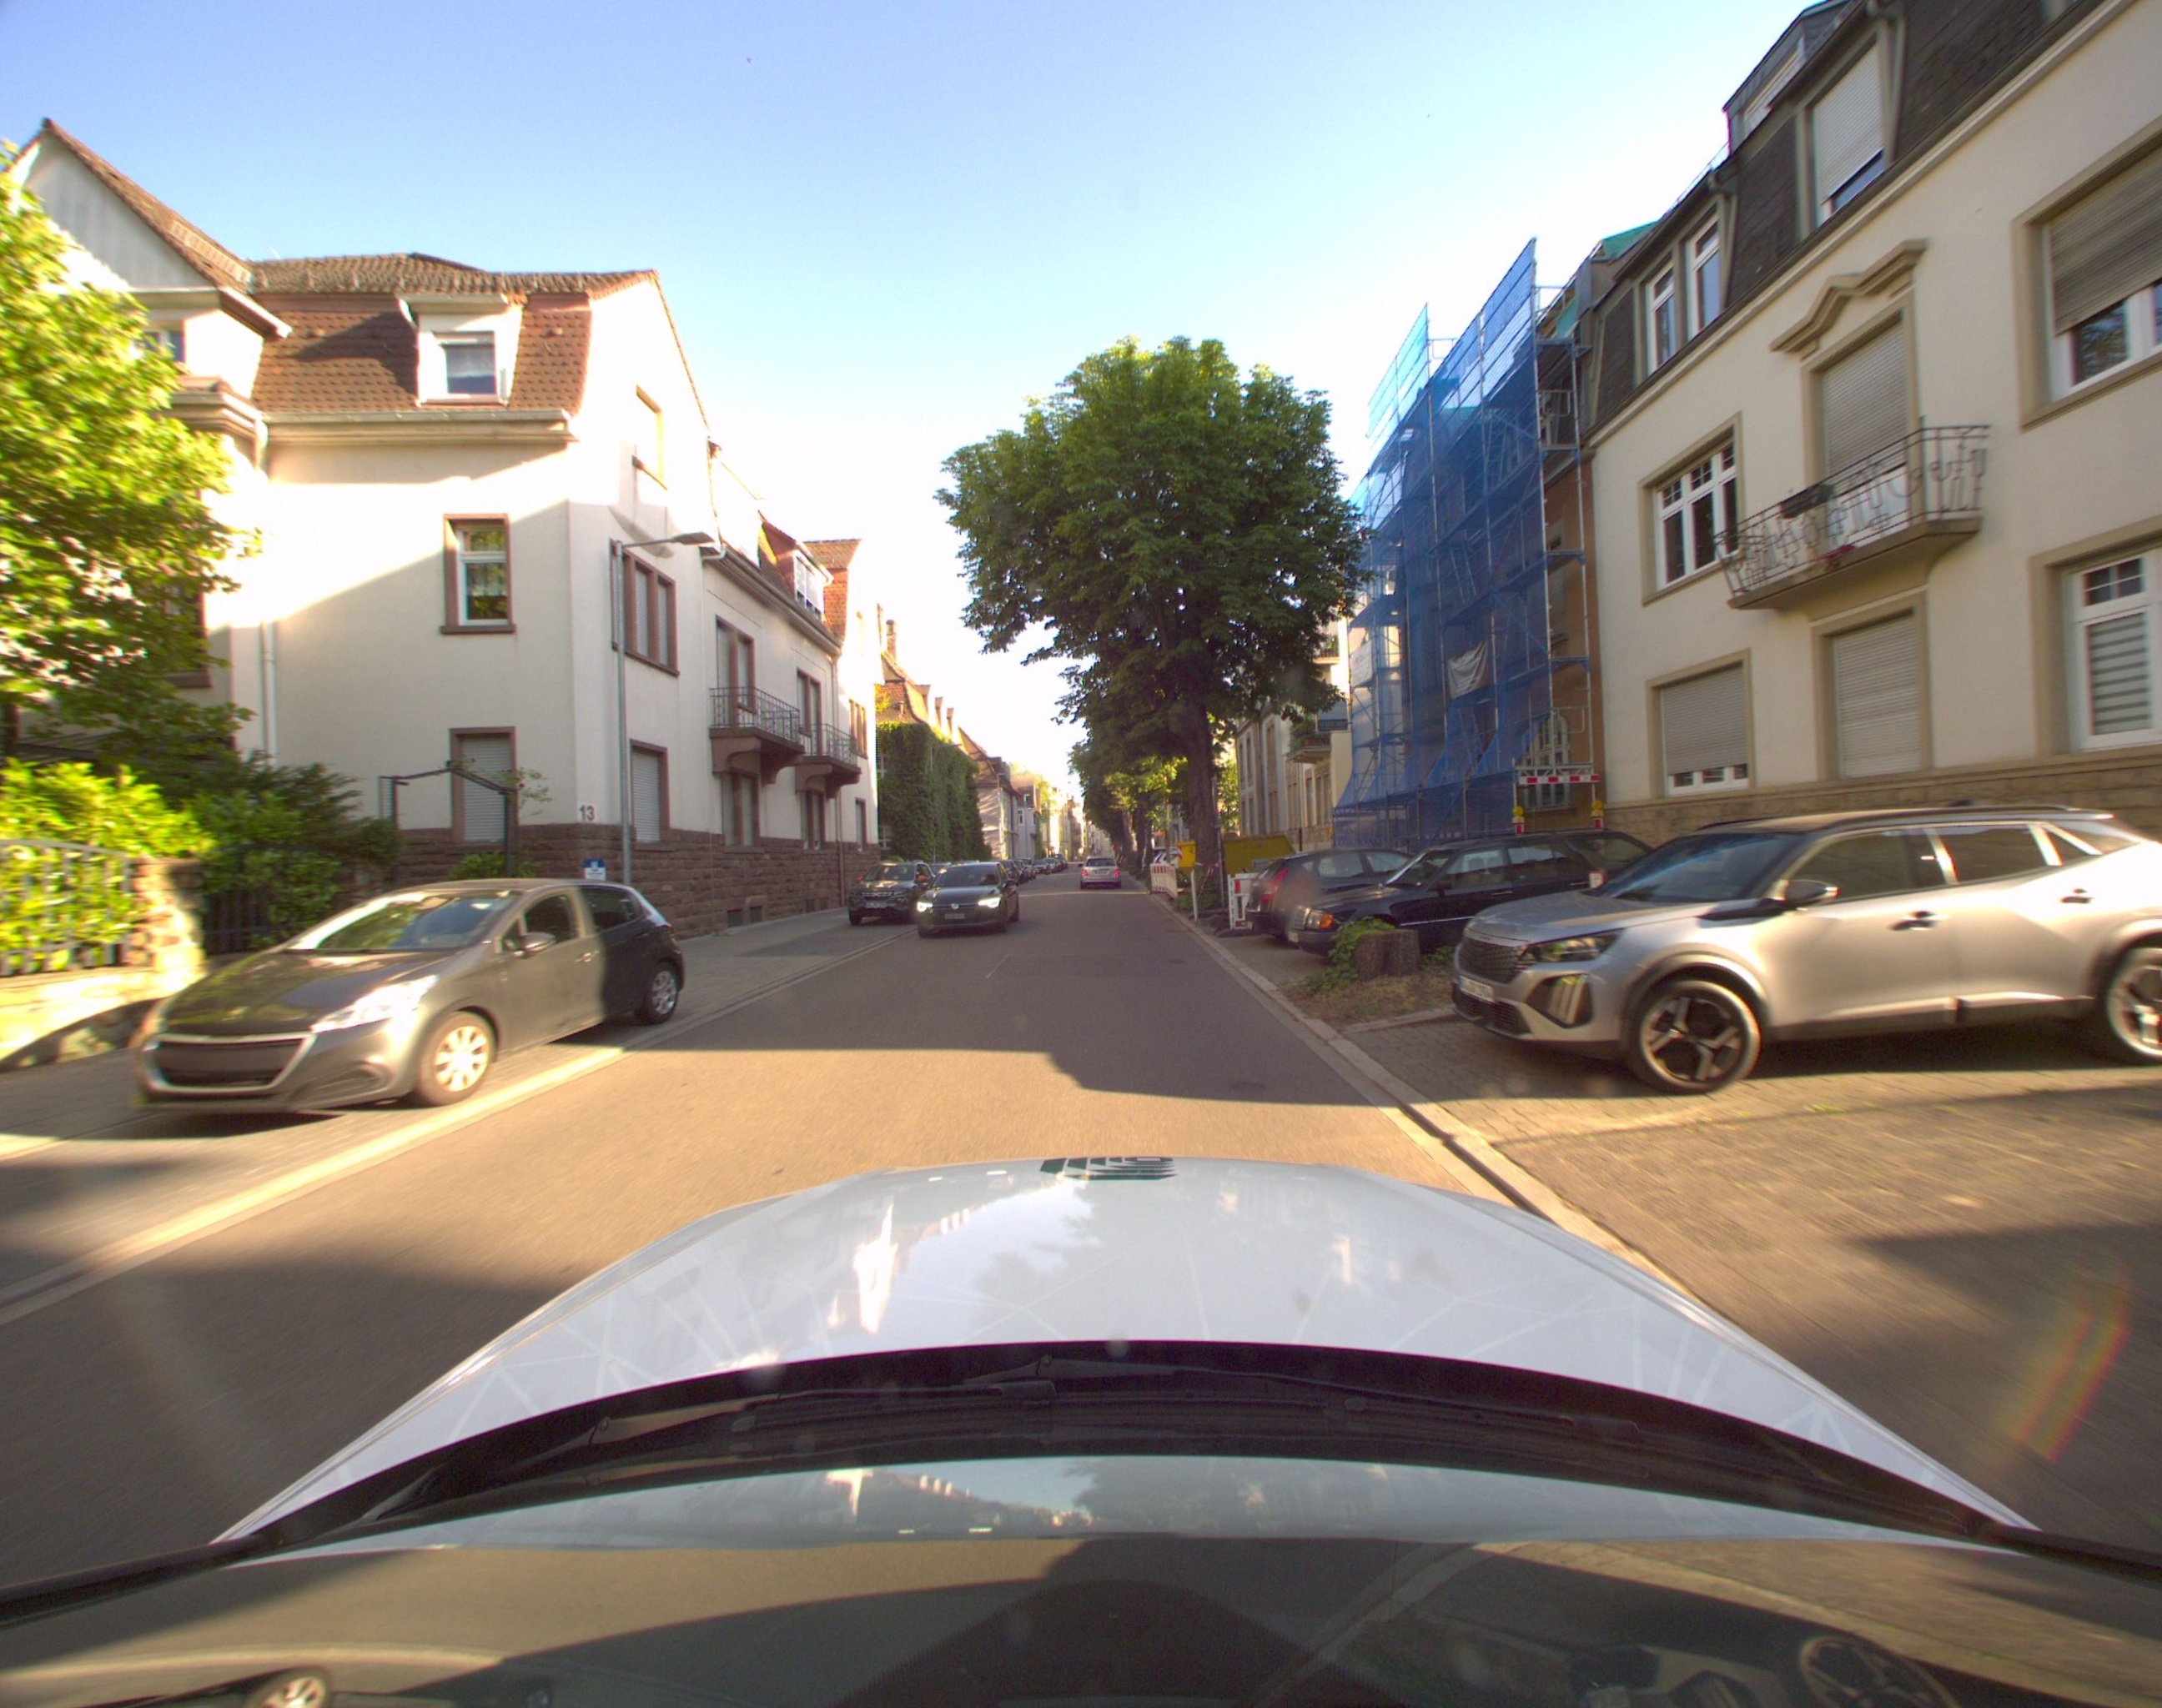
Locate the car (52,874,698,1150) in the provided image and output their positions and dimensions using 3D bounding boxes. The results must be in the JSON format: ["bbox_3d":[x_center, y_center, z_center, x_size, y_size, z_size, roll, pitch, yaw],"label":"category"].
[{"bbox_3d":[-4.932,0.942,6.597,1.647,1.447,4.006,-1,0,1],"label":"car"}]

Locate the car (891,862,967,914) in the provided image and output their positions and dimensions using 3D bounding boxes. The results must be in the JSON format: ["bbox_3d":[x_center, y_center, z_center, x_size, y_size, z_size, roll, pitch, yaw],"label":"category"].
[{"bbox_3d":[-4.577,0.977,24.999,1.649,1.447,3.842,-1,0,-1],"label":"car"}]

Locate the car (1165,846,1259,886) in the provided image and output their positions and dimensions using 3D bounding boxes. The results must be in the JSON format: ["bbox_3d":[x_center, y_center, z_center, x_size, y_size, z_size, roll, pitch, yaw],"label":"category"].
[{"bbox_3d":[5.629,0.515,35.251,3.833,1.462,1.689,-4,0,5],"label":"car"}]

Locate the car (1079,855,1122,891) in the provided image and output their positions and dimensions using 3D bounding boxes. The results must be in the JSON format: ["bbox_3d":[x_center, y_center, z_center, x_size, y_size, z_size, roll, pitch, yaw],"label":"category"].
[{"bbox_3d":[0.894,0.832,36.024,1.777,1.437,3.852,-1,-1,2],"label":"car"}]

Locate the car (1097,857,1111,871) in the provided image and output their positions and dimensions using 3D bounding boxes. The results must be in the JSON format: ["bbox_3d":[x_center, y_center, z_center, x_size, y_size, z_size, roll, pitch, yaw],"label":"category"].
[{"bbox_3d":[2.865,1.213,100.459,1.617,1.570,3.682,-2,0,2],"label":"car"}]

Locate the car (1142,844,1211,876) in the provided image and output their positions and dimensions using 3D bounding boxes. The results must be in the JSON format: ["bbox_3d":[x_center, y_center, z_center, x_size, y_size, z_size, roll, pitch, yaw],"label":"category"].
[{"bbox_3d":[6.263,0.415,53.779,4.299,1.807,2.000,-4,0,0],"label":"car"}]

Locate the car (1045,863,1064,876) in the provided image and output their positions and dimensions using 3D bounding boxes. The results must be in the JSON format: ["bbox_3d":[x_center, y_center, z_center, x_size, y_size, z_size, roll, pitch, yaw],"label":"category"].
[{"bbox_3d":[-2.785,1.585,85.953,1.524,1.319,4.231,-1,-1,4],"label":"car"}]

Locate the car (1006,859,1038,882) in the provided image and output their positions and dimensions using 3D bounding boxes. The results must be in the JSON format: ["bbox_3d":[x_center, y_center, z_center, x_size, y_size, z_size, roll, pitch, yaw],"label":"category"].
[{"bbox_3d":[-3.920,1.064,54.544,1.697,1.460,3.920,-1,0,3],"label":"car"}]

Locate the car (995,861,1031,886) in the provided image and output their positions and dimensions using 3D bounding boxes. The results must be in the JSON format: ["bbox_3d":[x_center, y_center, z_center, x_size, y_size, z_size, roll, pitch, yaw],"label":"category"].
[{"bbox_3d":[-3.944,1.122,47.864,1.680,1.379,3.722,-1,0,1],"label":"car"}]

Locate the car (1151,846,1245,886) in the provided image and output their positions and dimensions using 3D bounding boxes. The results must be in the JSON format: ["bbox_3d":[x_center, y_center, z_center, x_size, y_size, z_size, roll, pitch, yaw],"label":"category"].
[{"bbox_3d":[5.359,0.548,37.730,4.127,1.534,1.688,-4,0,3],"label":"car"}]

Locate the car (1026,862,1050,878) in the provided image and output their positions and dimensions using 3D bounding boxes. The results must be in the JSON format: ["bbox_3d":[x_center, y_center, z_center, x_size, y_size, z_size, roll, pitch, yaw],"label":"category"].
[{"bbox_3d":[-3.760,1.403,71.930,1.646,1.324,4.049,-1,-1,3],"label":"car"}]

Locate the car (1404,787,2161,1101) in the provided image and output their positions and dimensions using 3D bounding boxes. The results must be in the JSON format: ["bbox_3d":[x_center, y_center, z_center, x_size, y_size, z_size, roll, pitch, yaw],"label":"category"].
[{"bbox_3d":[4.668,0.498,5.545,4.141,1.539,1.851,-4,-1,1],"label":"car"}]

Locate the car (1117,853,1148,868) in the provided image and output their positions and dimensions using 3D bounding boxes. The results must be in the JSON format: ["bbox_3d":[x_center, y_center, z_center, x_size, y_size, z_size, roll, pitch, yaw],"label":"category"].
[{"bbox_3d":[7.226,0.943,114.997,4.207,1.896,1.904,-4,-1,-1],"label":"car"}]

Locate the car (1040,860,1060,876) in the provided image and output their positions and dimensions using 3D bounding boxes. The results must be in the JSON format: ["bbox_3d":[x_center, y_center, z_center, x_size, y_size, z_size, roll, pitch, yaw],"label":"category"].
[{"bbox_3d":[-3.082,1.362,81.008,1.647,1.445,3.962,-1,0,2],"label":"car"}]

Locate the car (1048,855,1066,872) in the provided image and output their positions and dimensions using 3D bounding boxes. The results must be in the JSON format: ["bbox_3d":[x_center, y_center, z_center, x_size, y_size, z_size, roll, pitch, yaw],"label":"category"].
[{"bbox_3d":[-2.871,1.110,97.347,1.975,1.947,4.851,-1,0,0],"label":"car"}]

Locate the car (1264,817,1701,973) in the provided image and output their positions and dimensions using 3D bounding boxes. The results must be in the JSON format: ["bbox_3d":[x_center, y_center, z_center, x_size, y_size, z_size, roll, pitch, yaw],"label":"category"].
[{"bbox_3d":[4.971,0.495,10.595,4.701,1.535,1.851,-4,-1,1],"label":"car"}]

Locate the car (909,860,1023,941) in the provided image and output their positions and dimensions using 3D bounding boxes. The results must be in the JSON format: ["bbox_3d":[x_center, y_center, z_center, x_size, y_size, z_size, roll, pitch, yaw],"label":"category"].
[{"bbox_3d":[-2.361,0.903,17.704,1.766,1.448,4.001,-3,0,1],"label":"car"}]

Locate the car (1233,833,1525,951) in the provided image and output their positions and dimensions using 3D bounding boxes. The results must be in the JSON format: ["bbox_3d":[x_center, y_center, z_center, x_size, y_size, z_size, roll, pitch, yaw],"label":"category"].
[{"bbox_3d":[4.612,0.578,13.082,3.971,1.492,1.852,-4,-1,2],"label":"car"}]

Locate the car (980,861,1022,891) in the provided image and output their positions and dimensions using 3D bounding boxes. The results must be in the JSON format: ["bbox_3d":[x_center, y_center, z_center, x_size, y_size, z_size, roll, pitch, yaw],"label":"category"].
[{"bbox_3d":[-4.070,1.071,41.875,1.643,1.421,4.100,-1,0,1],"label":"car"}]

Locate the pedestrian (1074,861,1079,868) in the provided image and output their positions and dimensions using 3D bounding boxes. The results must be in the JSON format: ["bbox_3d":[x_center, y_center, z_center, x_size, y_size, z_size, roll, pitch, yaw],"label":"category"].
[{"bbox_3d":[-1.103,2.573,198.245,1.215,1.722,1.505,-1,-1,4],"label":"pedestrian"}]

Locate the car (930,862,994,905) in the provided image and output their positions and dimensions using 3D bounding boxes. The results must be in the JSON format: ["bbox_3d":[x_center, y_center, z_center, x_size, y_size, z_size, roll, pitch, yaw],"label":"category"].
[{"bbox_3d":[-4.419,1.041,30.943,1.787,1.461,4.775,-1,0,-1],"label":"car"}]

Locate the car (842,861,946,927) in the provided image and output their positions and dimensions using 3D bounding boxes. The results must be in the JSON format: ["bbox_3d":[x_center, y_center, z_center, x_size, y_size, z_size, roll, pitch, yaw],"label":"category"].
[{"bbox_3d":[-4.638,0.948,20.686,1.647,1.486,3.765,-1,0,1],"label":"car"}]

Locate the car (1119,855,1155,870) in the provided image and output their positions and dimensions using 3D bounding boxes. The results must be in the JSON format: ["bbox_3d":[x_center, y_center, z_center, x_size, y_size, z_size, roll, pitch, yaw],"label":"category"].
[{"bbox_3d":[6.780,1.023,98.400,4.172,1.475,1.853,-4,-1,3],"label":"car"}]
